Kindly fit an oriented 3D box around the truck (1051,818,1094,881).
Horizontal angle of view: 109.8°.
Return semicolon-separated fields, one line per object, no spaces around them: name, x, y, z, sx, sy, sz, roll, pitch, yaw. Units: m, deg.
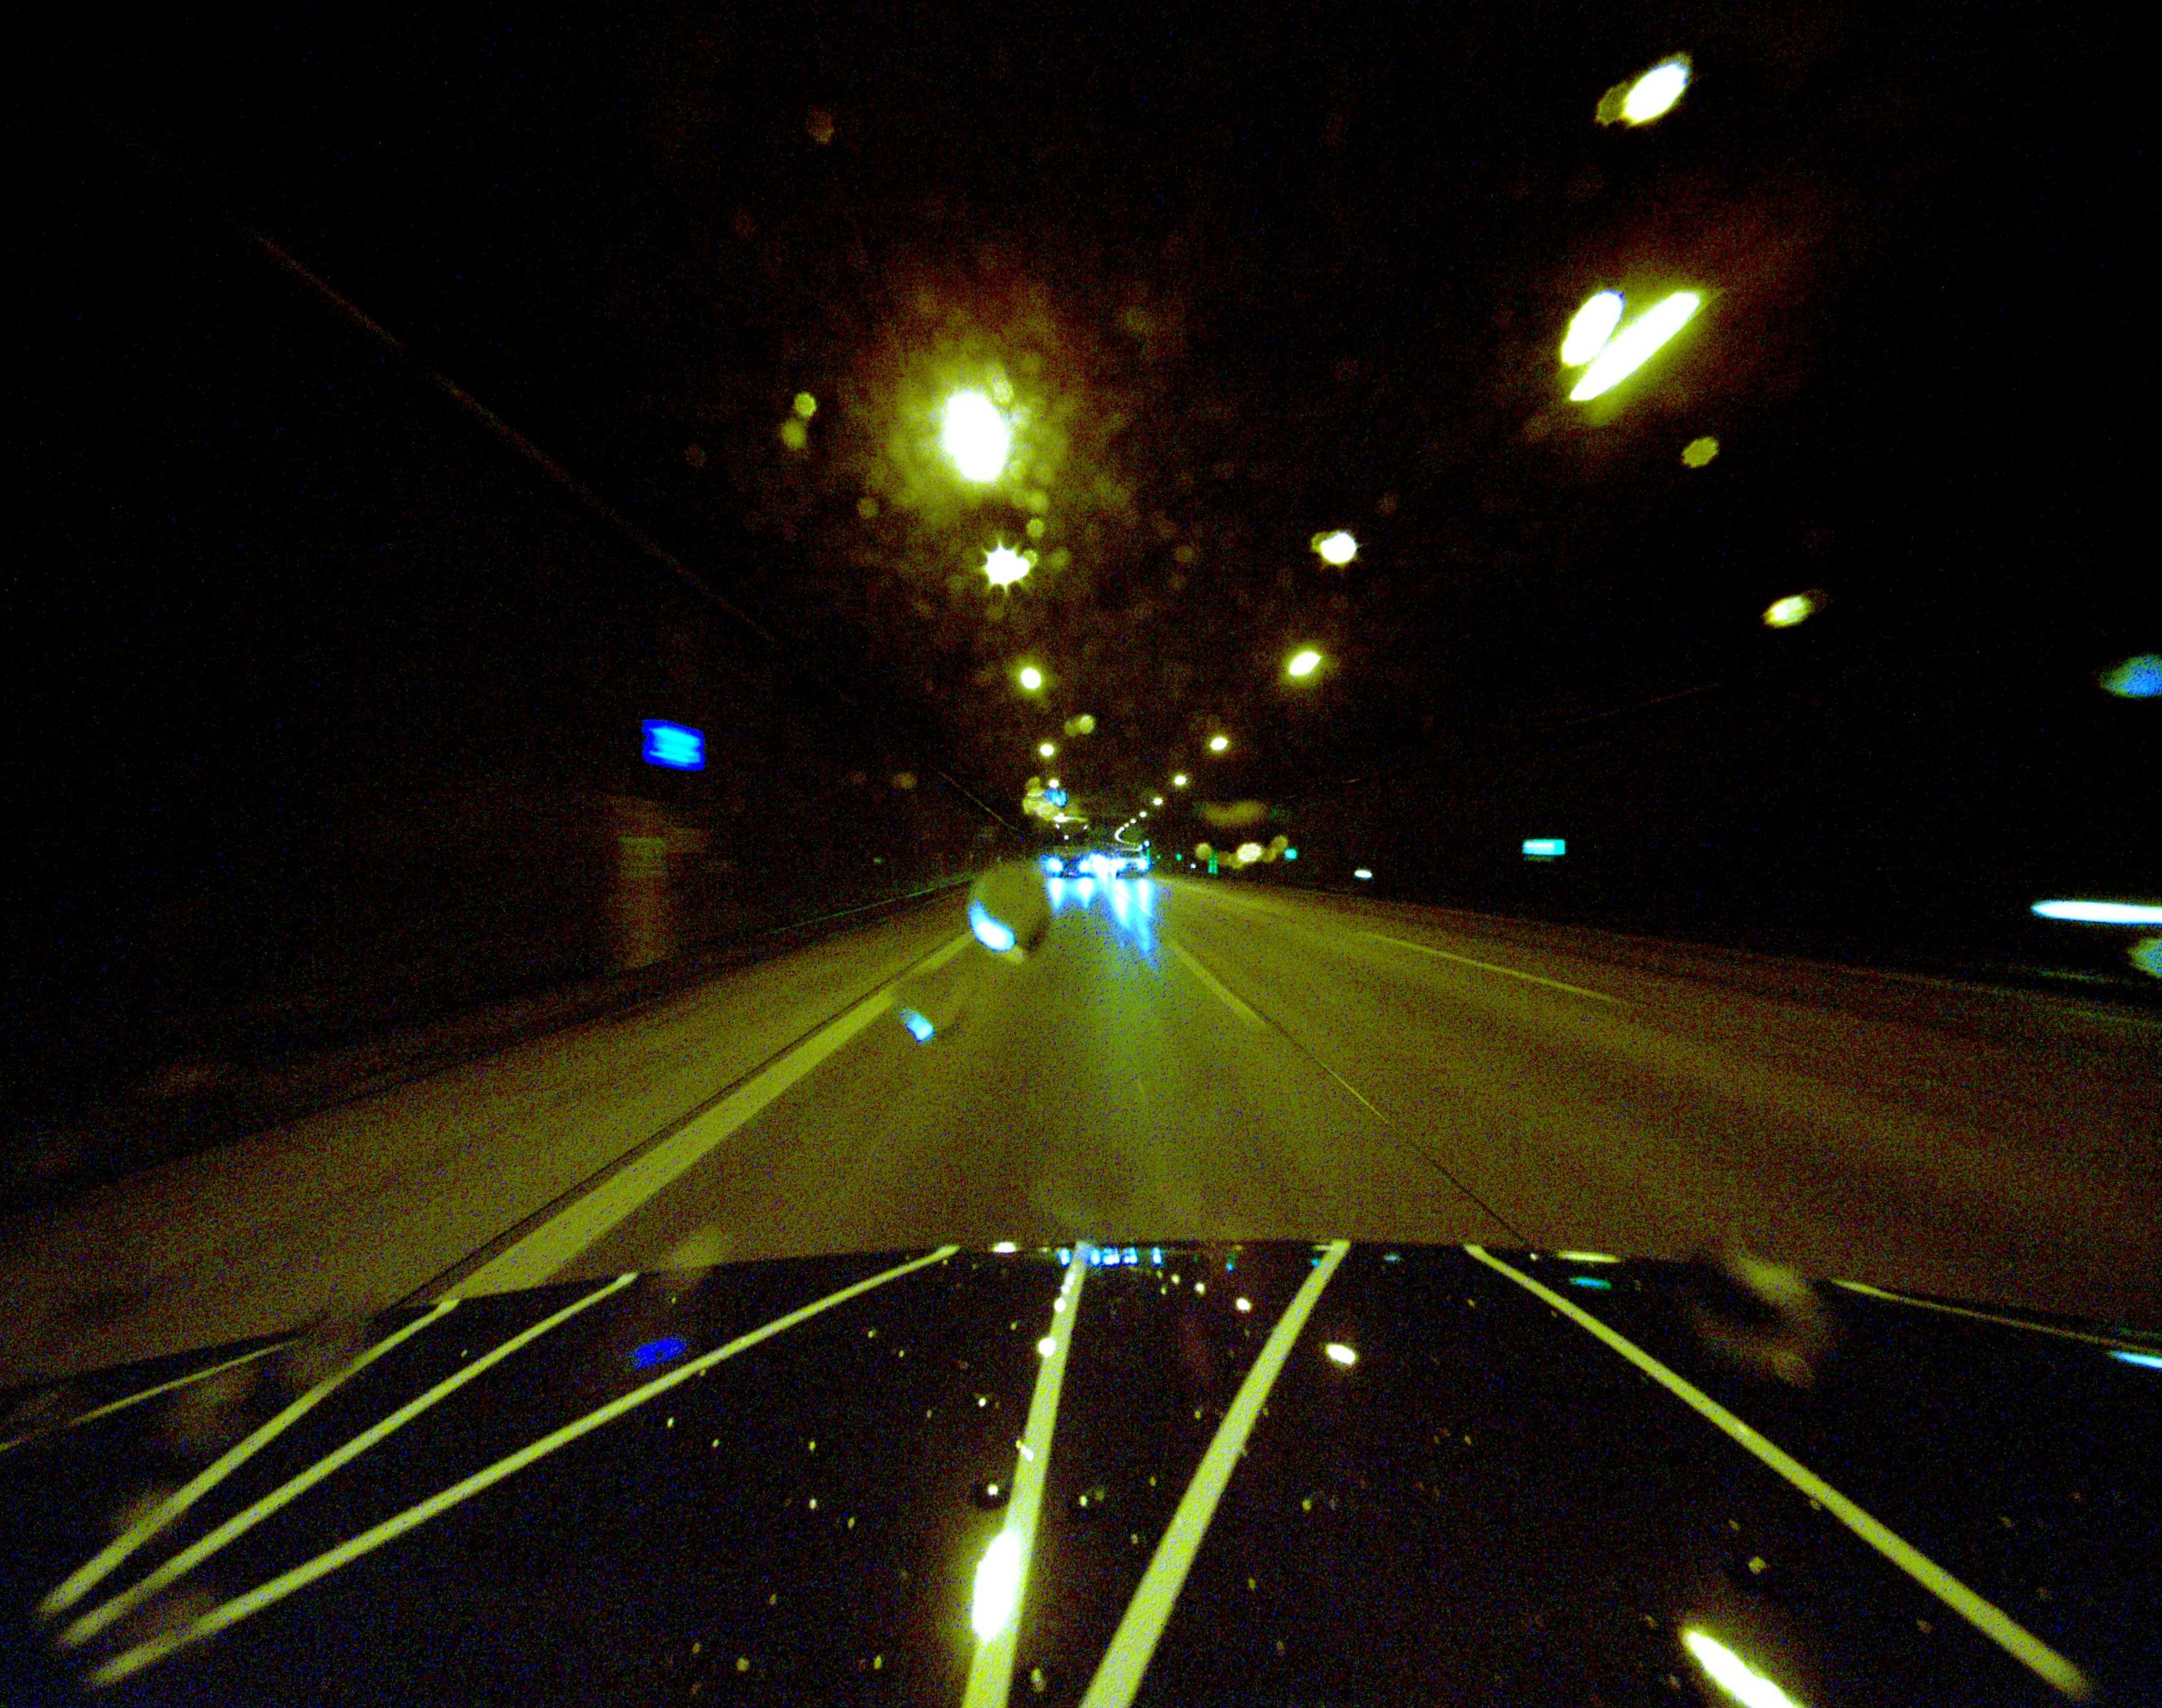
truck;-0.662;-0.312;53.874;2.654;4.139;6.002;2;1;-3

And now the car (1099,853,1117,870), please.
car;3.210;0.866;88.457;1.998;1.890;4.000;-2;0;3

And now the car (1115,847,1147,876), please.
car;3.481;0.502;53.291;1.998;1.890;4.000;1;0;0

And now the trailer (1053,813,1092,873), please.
trailer;-0.737;-0.809;60.182;2.627;4.139;13.998;1;0;-1

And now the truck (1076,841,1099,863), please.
truck;1.208;-0.347;138.360;2.899;3.819;9.002;2;1;8
